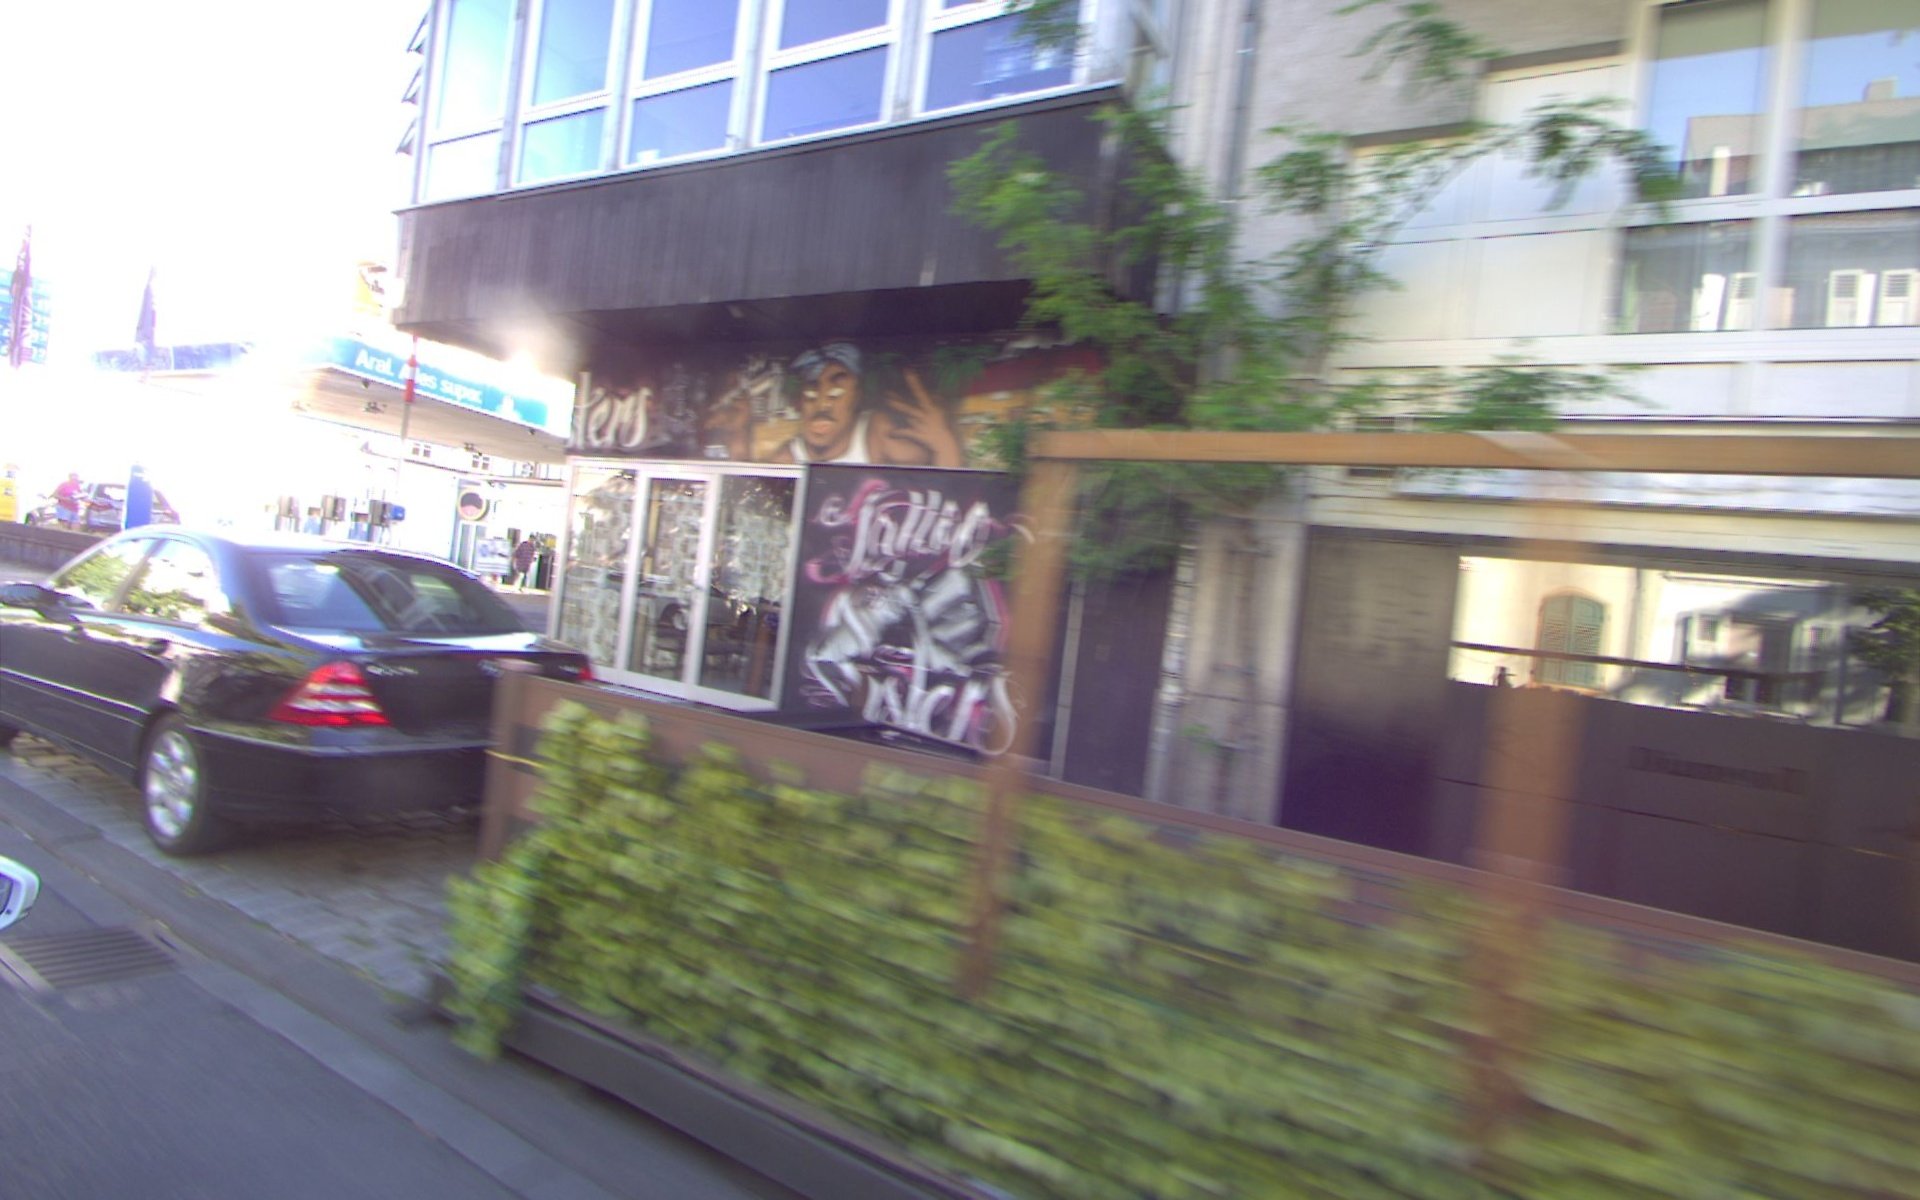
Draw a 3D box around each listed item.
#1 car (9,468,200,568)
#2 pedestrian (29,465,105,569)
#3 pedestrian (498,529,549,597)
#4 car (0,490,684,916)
[{"bbox_3d":[-18.379,-1.778,21.569,4.223,1.669,1.902,7,1,33],"label":"car"},{"bbox_3d":[-17.283,-1.590,19.476,0.675,1.873,0.709,7,1,8],"label":"pedestrian"},{"bbox_3d":[-12.294,-1.034,28.322,0.806,1.763,0.818,7,0,19],"label":"pedestrian"},{"bbox_3d":[-3.957,0.268,5.714,4.569,1.430,1.902,7,2,31],"label":"car"}]
